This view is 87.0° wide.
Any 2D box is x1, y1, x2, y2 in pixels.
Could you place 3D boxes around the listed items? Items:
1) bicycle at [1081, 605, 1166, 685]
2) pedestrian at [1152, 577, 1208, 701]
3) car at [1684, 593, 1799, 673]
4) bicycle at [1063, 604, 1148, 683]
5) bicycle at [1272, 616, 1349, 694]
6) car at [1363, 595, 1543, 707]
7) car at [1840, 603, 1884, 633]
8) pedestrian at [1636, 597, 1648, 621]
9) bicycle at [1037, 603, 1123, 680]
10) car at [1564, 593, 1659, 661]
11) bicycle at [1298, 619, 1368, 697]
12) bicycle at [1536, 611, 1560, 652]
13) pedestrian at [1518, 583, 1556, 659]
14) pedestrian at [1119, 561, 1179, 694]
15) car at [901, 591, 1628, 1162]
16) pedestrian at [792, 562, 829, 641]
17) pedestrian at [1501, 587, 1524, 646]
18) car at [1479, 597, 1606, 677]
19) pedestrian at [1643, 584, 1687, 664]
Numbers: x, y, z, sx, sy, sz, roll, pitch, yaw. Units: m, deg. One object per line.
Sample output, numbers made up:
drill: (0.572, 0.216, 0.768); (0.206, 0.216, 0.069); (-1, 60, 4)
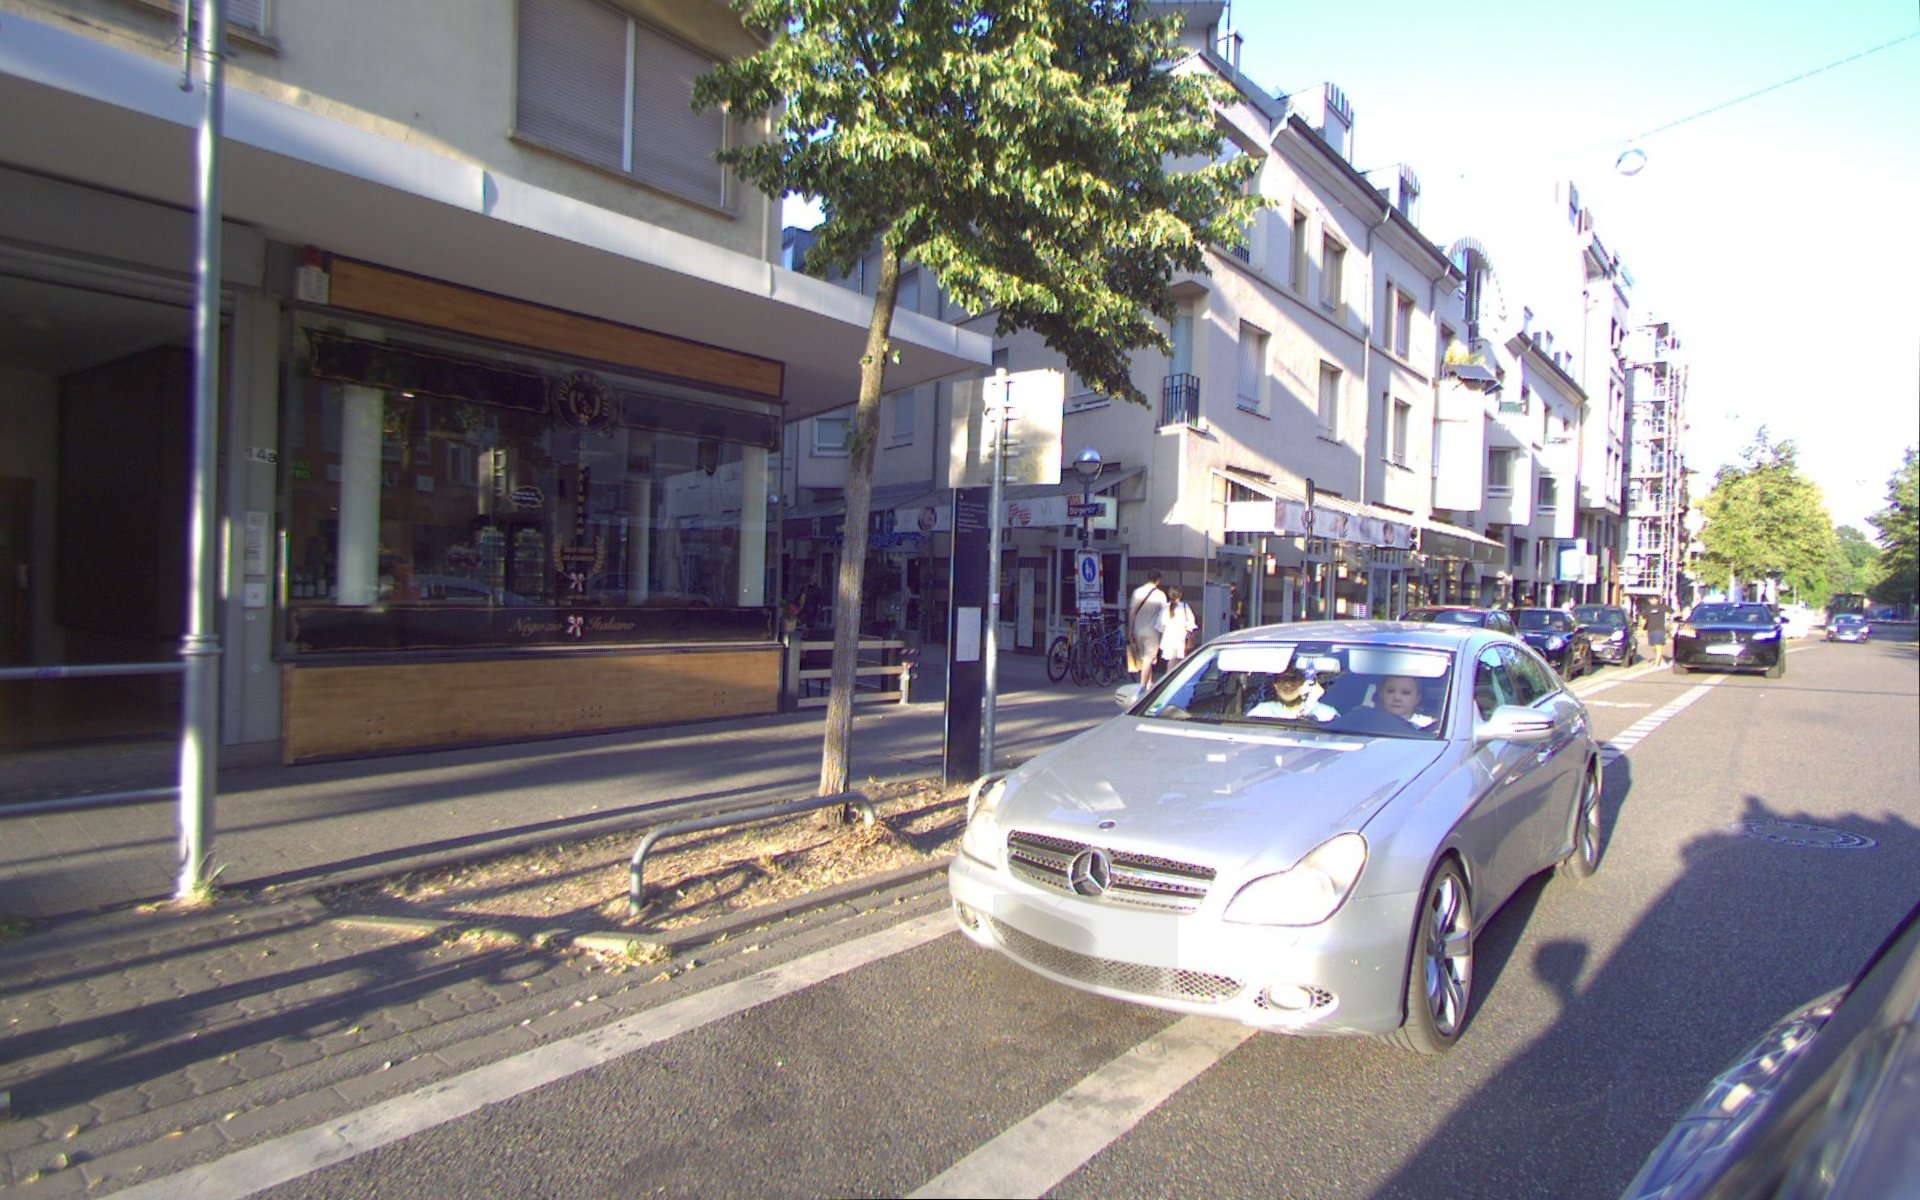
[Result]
bicycle: (2.478, 0.646, 15.186); (0.320, 1.118, 1.851); (2, 1, 41)
pedestrian: (2.989, 0.511, 13.742); (0.519, 1.612, 0.402); (5, 3, 41)
car: (17.948, 0.686, 23.183); (1.884, 1.656, 4.165); (0, 0, 41)
bicycle: (2.243, 0.626, 15.408); (0.290, 1.118, 1.859); (2, 1, 41)
bicycle: (5.253, 0.788, 15.111); (0.314, 1.059, 1.853); (3, 2, 43)
car: (7.764, 0.695, 15.769); (1.587, 1.451, 3.868); (4, 2, 40)
car: (46.358, 0.895, 52.058); (1.616, 1.492, 3.634); (0, 0, 41)
pedestrian: (36.322, 0.477, 53.879); (0.490, 1.279, 0.415); (0, 0, 42)
bicycle: (1.885, 0.614, 15.710); (0.320, 1.118, 1.851); (2, 1, 41)
car: (17.214, 0.657, 26.665); (1.615, 1.612, 3.868); (2, 1, 40)
bicycle: (5.502, 0.825, 14.868); (0.314, 1.059, 1.638); (3, 2, 43)
bicycle: (16.295, 0.857, 28.050); (0.295, 1.099, 1.441); (1, 1, 41)
pedestrian: (13.741, 0.488, 24.104); (0.629, 1.771, 0.660); (3, 2, 41)
pedestrian: (2.640, 0.369, 14.147); (0.543, 1.779, 0.495); (5, 3, 41)
car: (1.904, 0.694, 4.931); (1.740, 1.418, 4.572); (1, 1, 40)
pedestrian: (-3.365, 0.026, 22.689); (0.688, 1.696, 0.799); (2, 2, -13)
pedestrian: (17.472, 0.516, 32.003); (0.574, 1.823, 0.443); (0, 0, 42)
car: (12.233, 0.708, 21.149); (1.615, 1.452, 3.868); (3, 2, 40)
pedestrian: (17.172, 0.582, 24.656); (0.776, 1.907, 0.660); (-2, -2, 41)
